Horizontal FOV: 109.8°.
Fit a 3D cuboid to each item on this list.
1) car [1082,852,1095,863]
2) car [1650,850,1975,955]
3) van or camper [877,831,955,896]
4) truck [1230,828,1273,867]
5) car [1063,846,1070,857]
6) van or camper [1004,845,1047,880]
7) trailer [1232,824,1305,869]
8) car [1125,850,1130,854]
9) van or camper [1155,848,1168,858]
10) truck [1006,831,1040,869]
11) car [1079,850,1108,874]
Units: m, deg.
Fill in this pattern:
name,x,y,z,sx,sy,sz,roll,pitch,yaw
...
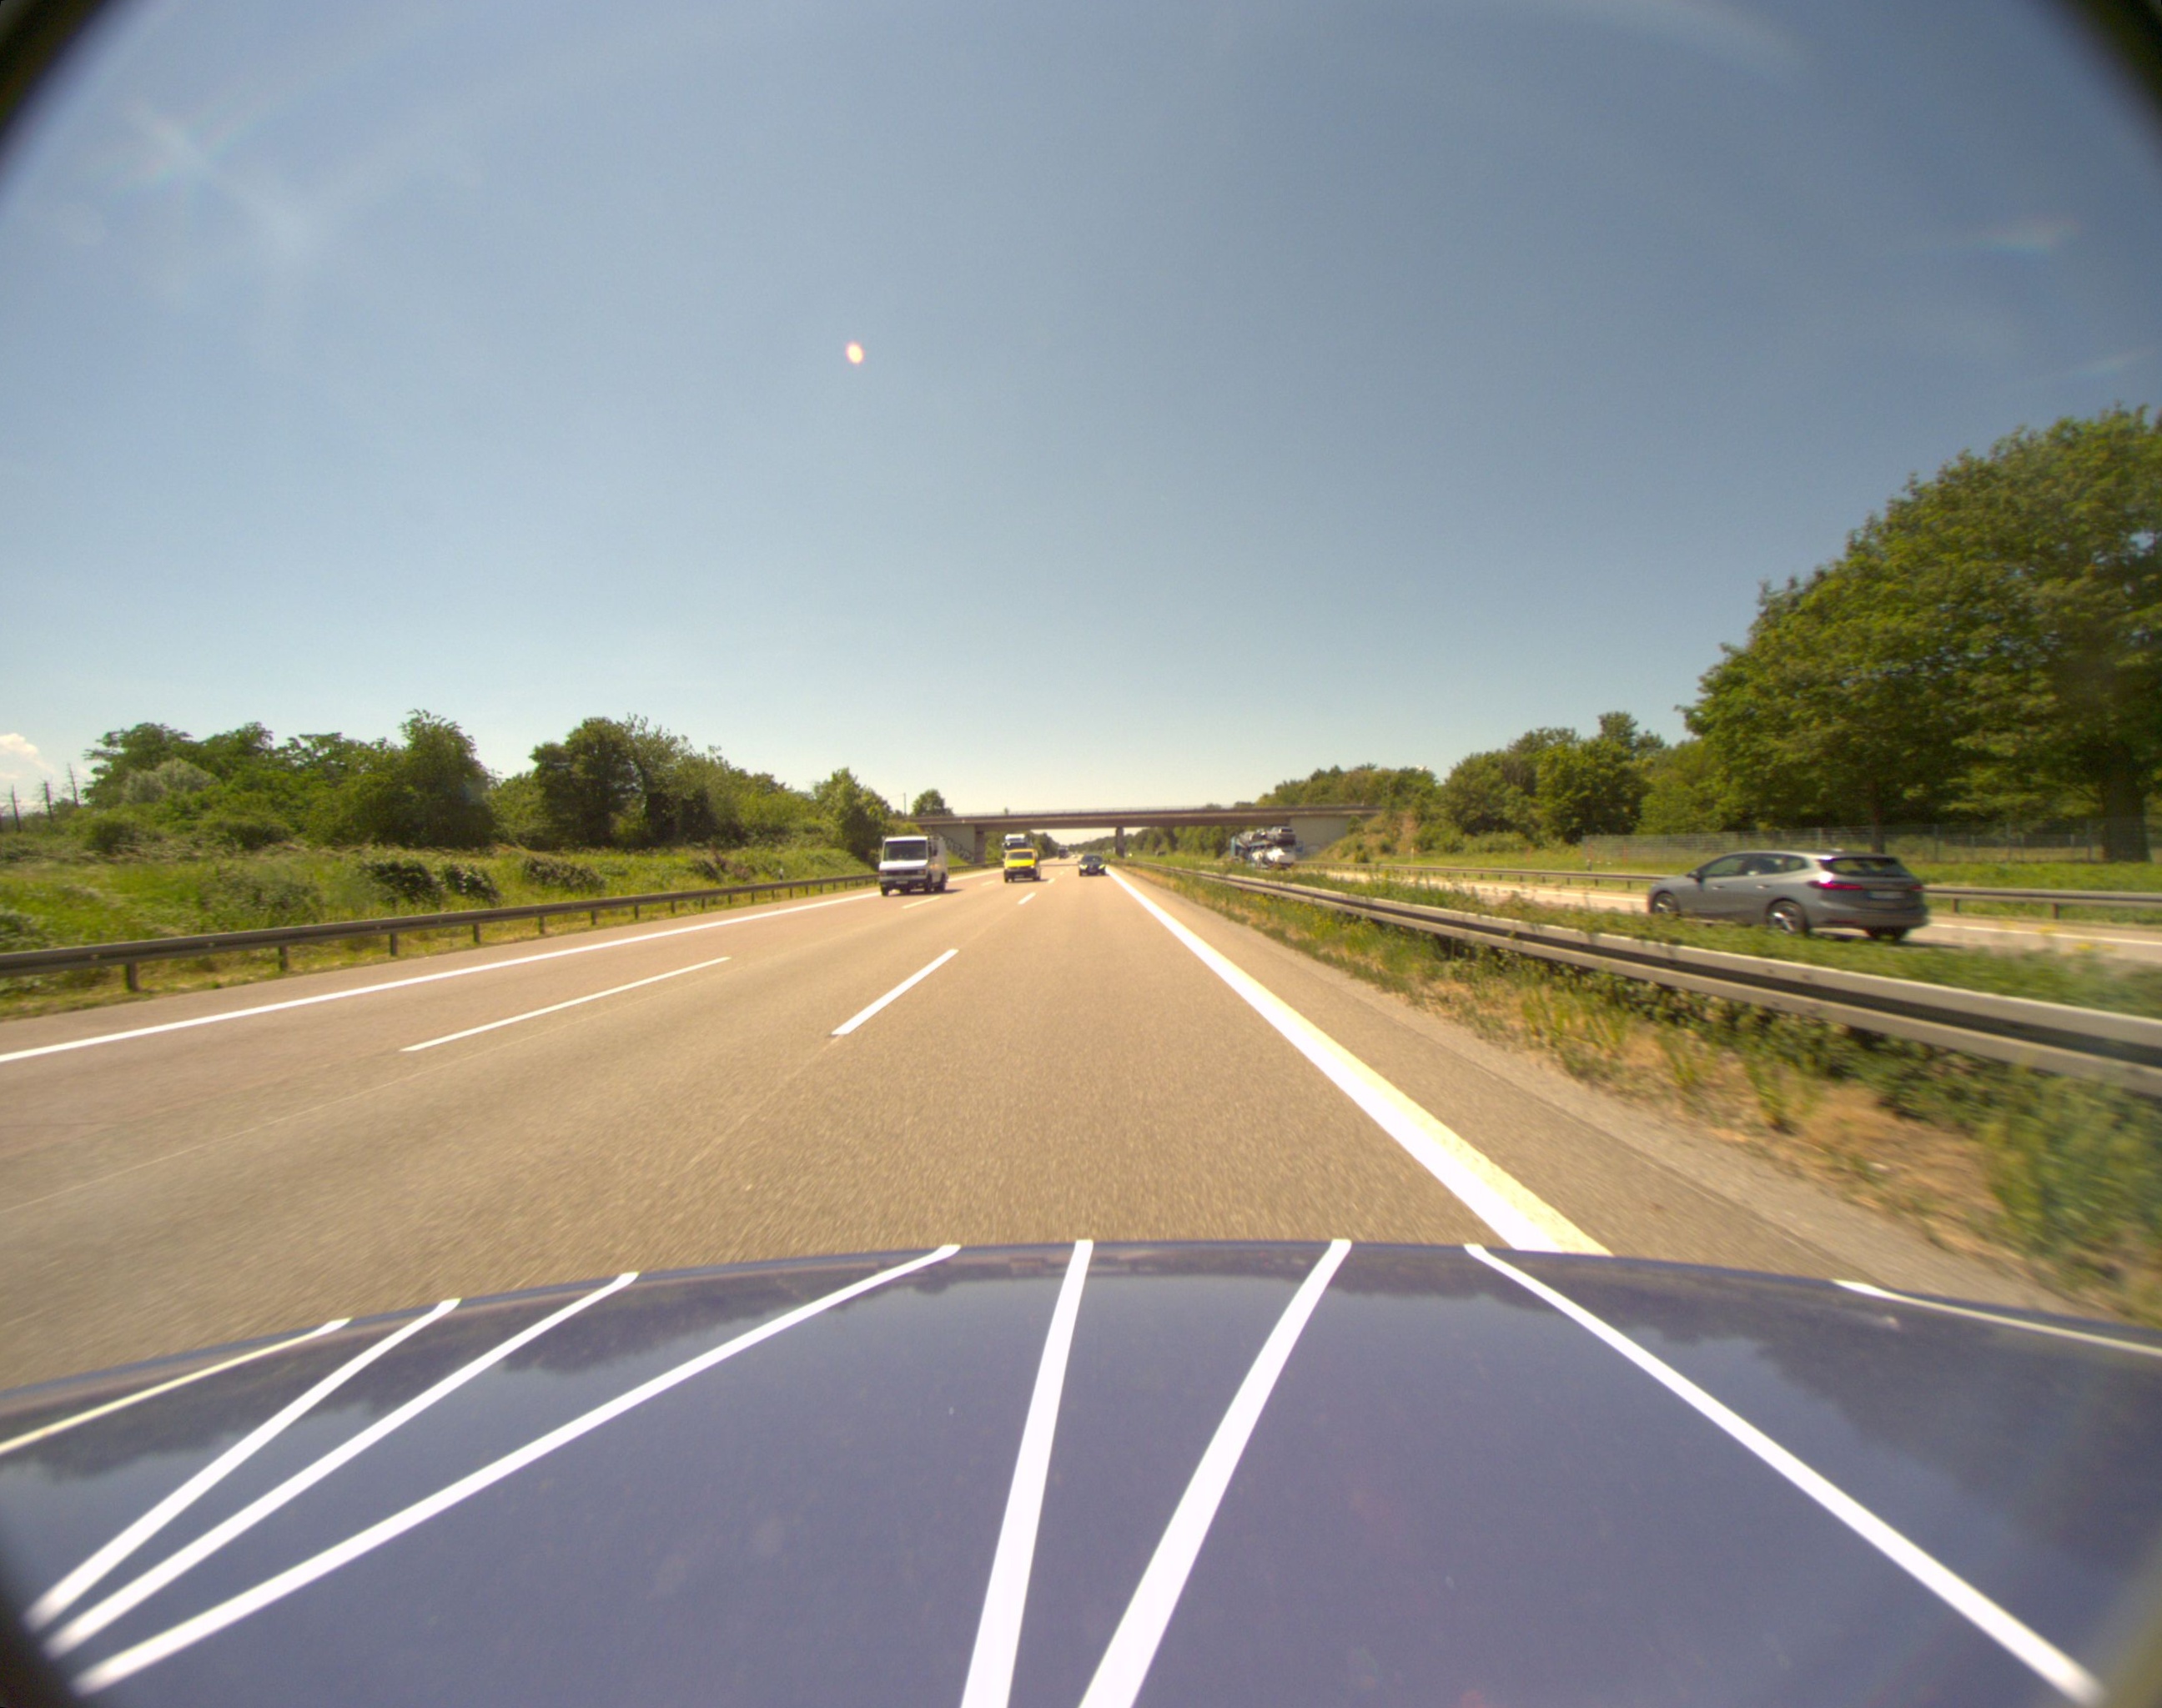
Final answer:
name,x,y,z,sx,sy,sz,roll,pitch,yaw
car,1.071,0.537,110.501,1.894,1.541,4.038,0,1,0
car,12.756,0.728,13.723,1.797,1.569,4.211,0,1,0
van or camper,-7.559,0.358,35.557,2.119,2.687,6.366,-2,1,0
truck,18.548,-0.719,83.076,2.886,3.952,7.371,2,1,0
car,-4.827,-0.826,258.881,2.298,3.886,9.267,0,1,0
van or camper,-3.307,0.466,46.560,2.063,1.992,5.883,-2,0,1
trailer,18.538,-0.711,76.827,2.886,3.955,17.472,2,0,0
car,15.796,-0.665,256.765,1.398,1.245,3.584,-4,1,0
van or camper,15.536,-0.225,146.104,1.999,1.859,4.455,0,1,0
truck,-6.723,-0.488,89.832,2.806,4.022,13.352,-3,1,0
car,0.827,0.538,52.505,1.894,1.541,4.038,0,1,0
